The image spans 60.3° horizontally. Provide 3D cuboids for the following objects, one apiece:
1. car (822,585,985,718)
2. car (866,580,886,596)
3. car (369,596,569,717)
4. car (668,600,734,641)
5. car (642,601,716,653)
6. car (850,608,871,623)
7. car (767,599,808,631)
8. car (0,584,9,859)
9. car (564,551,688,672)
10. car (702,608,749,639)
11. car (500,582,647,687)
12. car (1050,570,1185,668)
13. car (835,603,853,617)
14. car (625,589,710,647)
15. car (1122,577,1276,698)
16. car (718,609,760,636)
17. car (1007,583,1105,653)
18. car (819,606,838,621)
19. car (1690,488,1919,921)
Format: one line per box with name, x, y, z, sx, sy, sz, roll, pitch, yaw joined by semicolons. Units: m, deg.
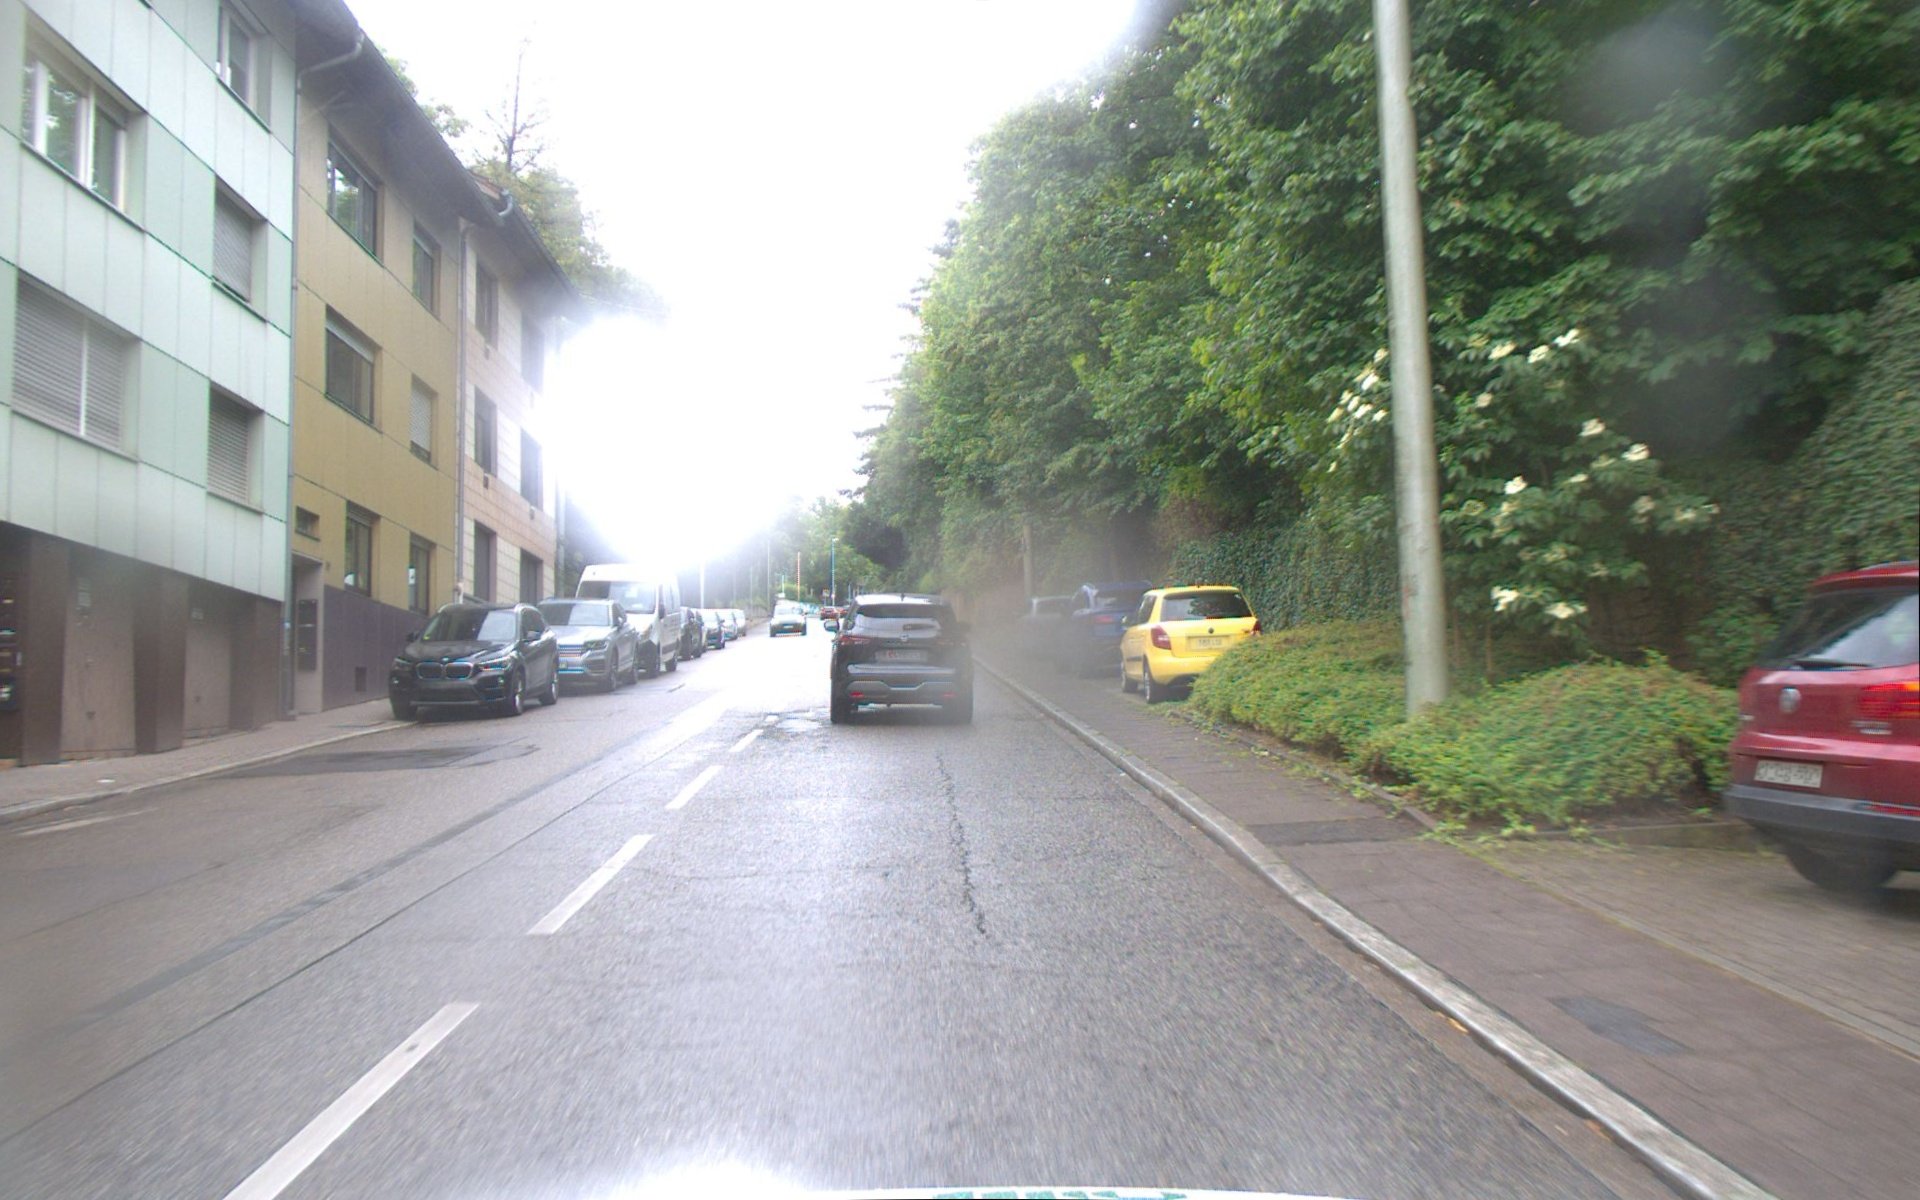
car;-0.756;0.598;21.855;1.953;1.587;3.998;0;0;-2
car;-9.304;-1.286;182.968;1.953;1.587;3.999;-2;-2;0
car;-7.317;0.774;25.104;1.951;1.613;4.302;-1;0;-4
car;-9.583;0.744;61.490;1.951;1.408;4.455;-1;0;-4
car;-9.393;0.868;55.652;1.951;1.594;4.455;-1;0;-4
car;-10.389;1.596;172.649;2.034;1.587;3.995;-1;0;-6
car;-8.973;0.782;86.251;1.954;1.587;3.997;0;0;-4
car;-6.421;0.744;7.571;1.816;1.613;4.302;-1;0;-4
car;-7.541;0.232;37.912;1.951;2.518;5.780;-1;0;-3
car;-11.615;1.131;82.145;1.951;1.408;4.455;-1;0;-4
car;-7.231;0.595;31.396;1.951;1.786;4.477;-1;0;-4
car;2.801;0.327;30.293;1.775;1.556;4.414;-3;0;-3
car;-14.065;1.209;200.794;2.033;1.587;3.997;-1;0;-4
car;-8.644;0.488;49.148;1.951;1.594;4.455;-1;0;-4
car;3.275;0.481;23.345;1.599;1.557;4.000;0;0;0
car;-12.435;1.240;93.259;1.951;1.408;4.455;-1;0;-4
car;2.347;0.430;41.338;1.776;1.556;4.413;-3;0;-5
car;-14.448;1.446;181.666;2.033;1.587;3.997;-1;0;-4
car;5.888;0.478;7.828;4.117;1.765;1.757;2;0;-7
